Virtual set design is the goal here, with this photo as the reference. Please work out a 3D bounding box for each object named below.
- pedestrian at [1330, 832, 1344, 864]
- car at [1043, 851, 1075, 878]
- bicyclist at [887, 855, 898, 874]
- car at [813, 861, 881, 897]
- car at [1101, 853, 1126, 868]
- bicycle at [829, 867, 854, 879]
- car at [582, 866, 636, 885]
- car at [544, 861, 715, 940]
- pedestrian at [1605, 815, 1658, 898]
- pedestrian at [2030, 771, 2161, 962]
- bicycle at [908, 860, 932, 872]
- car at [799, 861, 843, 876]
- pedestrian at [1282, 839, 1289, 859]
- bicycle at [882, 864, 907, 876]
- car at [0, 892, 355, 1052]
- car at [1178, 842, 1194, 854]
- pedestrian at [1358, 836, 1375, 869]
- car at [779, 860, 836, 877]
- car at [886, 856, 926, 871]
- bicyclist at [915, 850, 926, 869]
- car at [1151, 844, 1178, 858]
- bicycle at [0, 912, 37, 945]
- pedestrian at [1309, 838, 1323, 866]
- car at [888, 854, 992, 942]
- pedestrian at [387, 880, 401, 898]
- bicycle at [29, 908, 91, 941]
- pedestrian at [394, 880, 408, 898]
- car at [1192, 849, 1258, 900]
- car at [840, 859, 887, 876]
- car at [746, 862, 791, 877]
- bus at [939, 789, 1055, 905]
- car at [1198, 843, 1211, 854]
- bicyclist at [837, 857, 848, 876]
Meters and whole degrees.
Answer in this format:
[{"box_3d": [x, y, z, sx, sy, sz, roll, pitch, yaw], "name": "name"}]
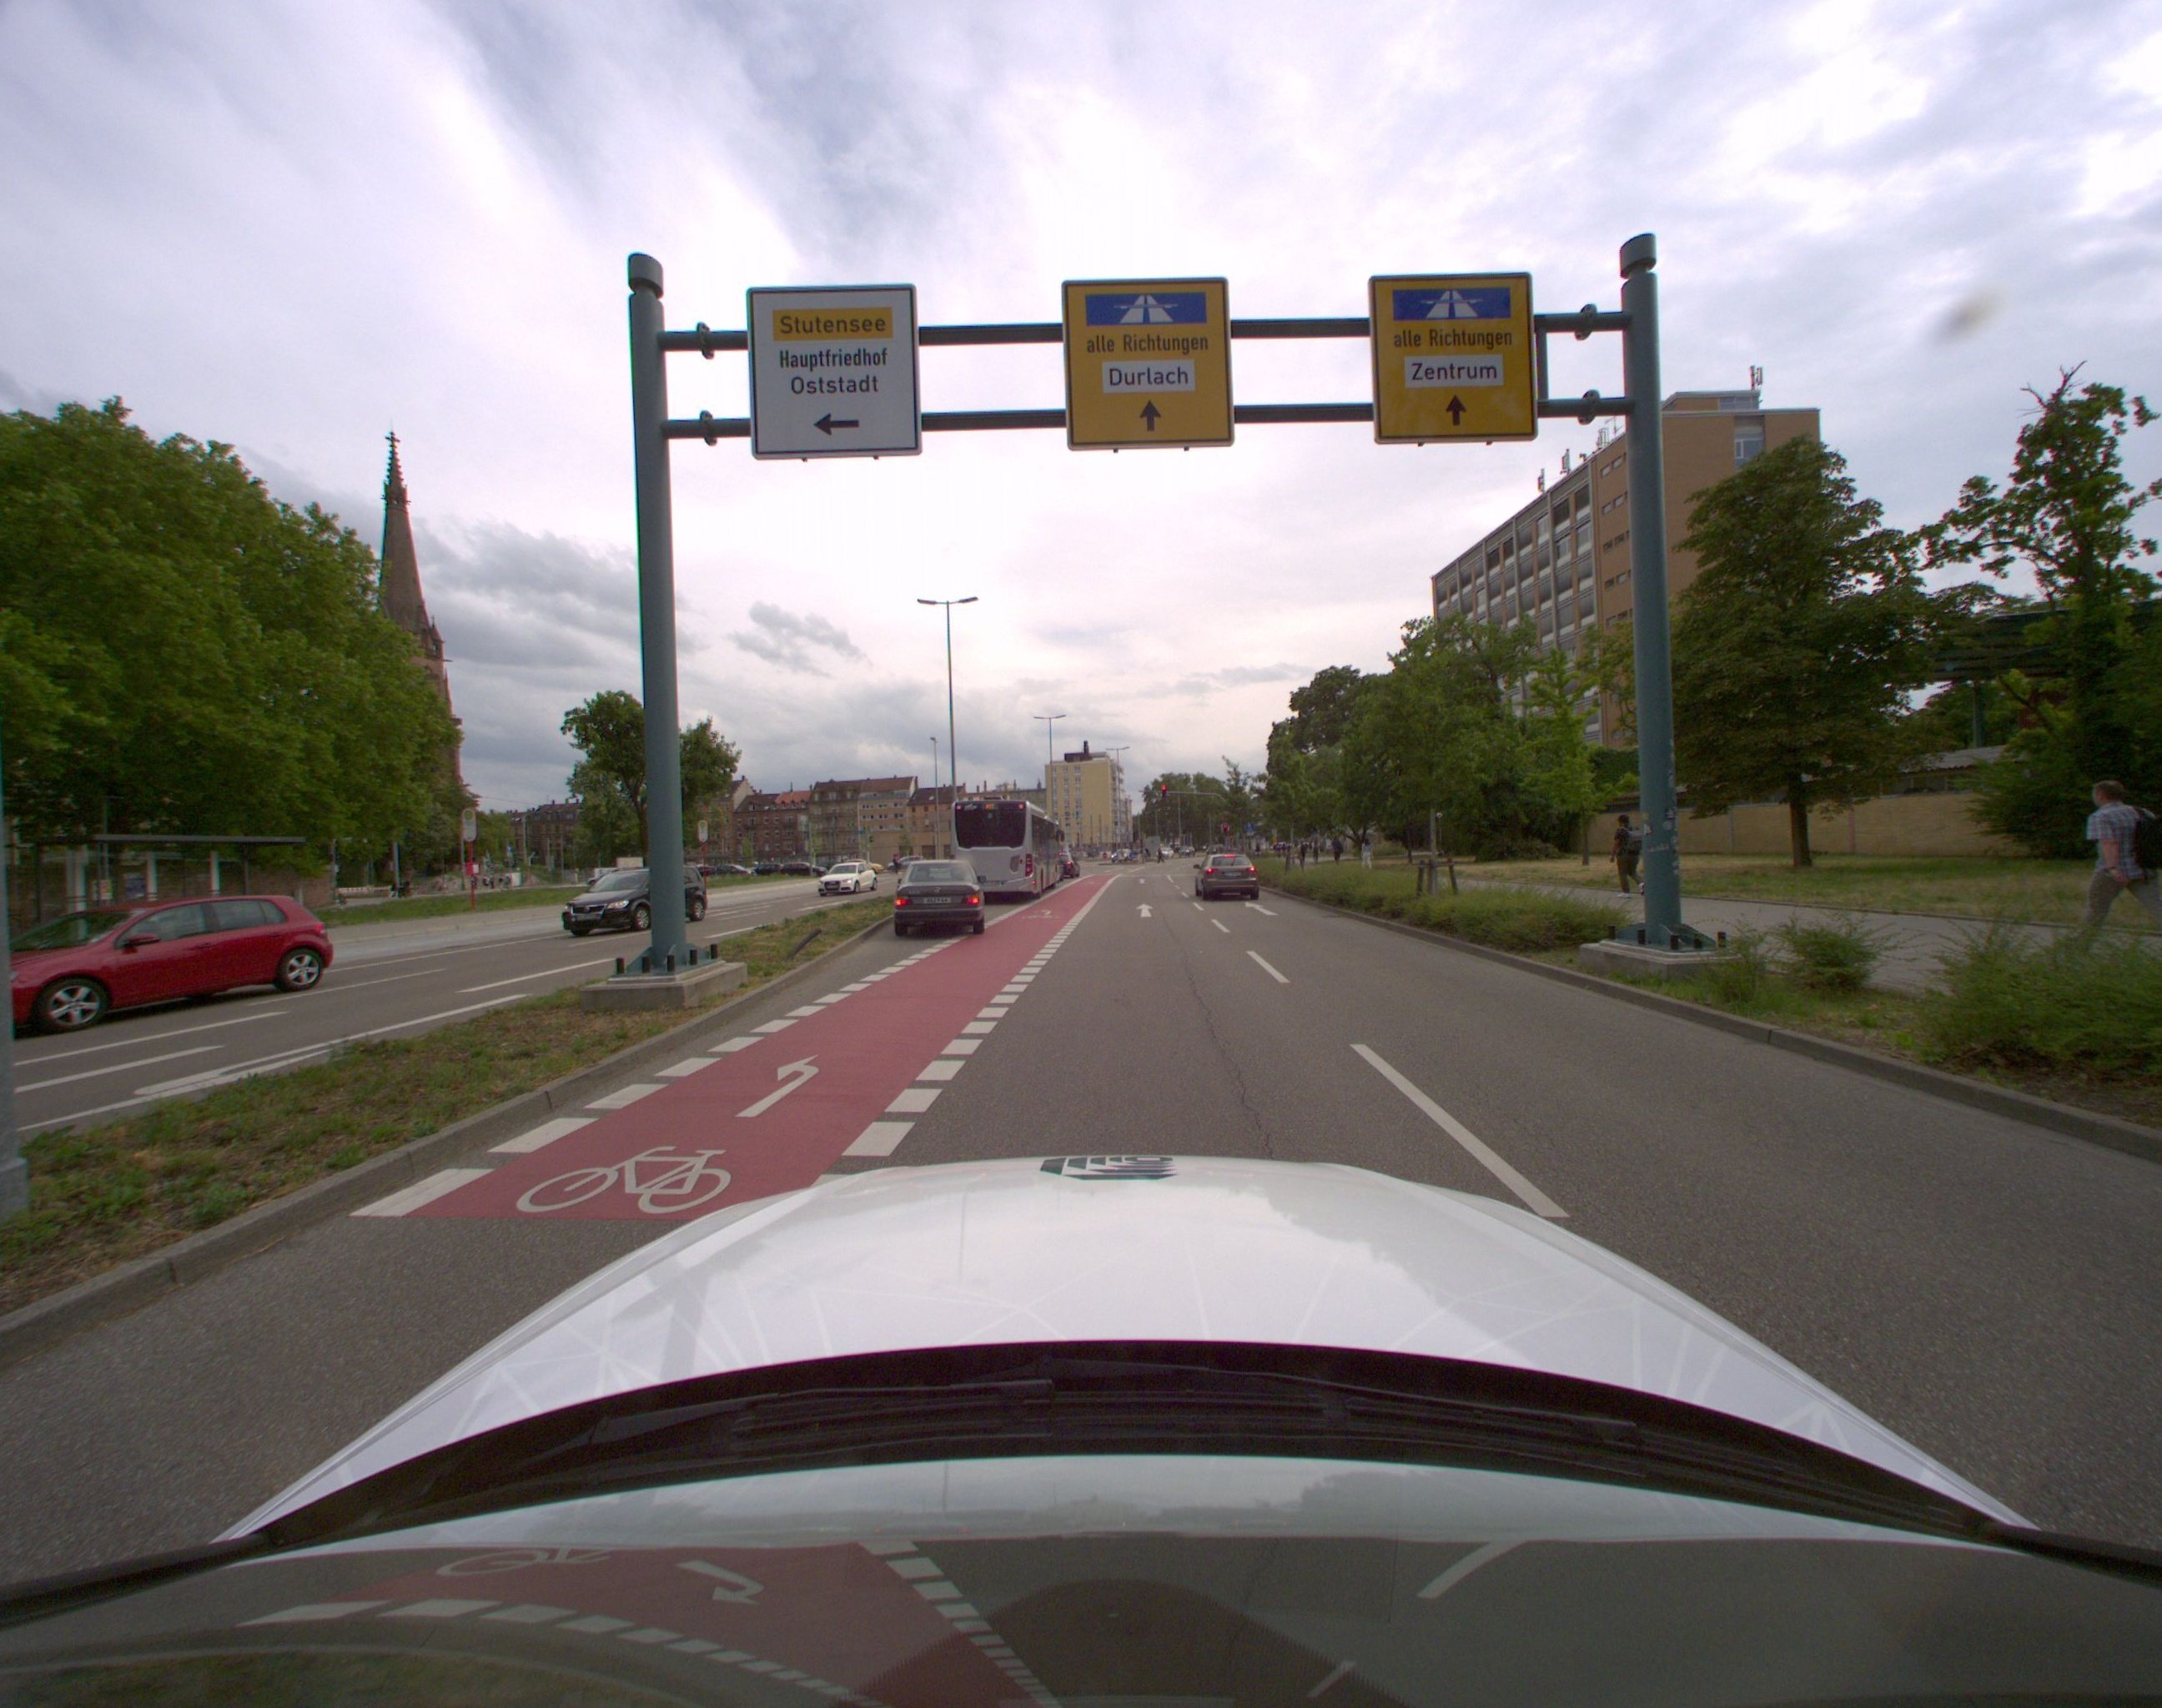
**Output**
[{"box_3d": [13.774, -0.331, 43.814, 0.641, 1.713, 0.564, -3, 0, 18], "name": "pedestrian"}, {"box_3d": [-1.256, 0.586, 47.366, 1.649, 1.396, 3.861, -2, 0, 1], "name": "car"}, {"box_3d": [-16.815, 0.911, 72.602, 0.783, 1.643, 0.573, -3, 0, 3], "name": "bicyclist"}, {"box_3d": [-10.637, 1.102, 37.314, 1.663, 1.389, 3.927, -3, 0, 4], "name": "car"}, {"box_3d": [4.099, 0.822, 102.451, 1.977, 1.703, 4.019, -2, 0, 18], "name": "car"}, {"box_3d": [-21.252, 1.694, 72.363, 1.959, 0.982, 0.630, -3, 0, -2], "name": "bicycle"}, {"box_3d": [-46.040, 2.083, 79.523, 4.144, 1.649, 1.645, -3, 0, -3], "name": "car"}, {"box_3d": [-11.663, 1.123, 21.423, 1.794, 1.665, 4.304, -4, 0, 3], "name": "car"}, {"box_3d": [11.541, 0.052, 17.090, 0.585, 1.682, 0.749, -3, 0, 4], "name": "pedestrian"}, {"box_3d": [9.949, 0.105, 7.839, 0.616, 1.735, 0.815, -3, 0, 4], "name": "pedestrian"}, {"box_3d": [-14.243, 1.084, 72.253, 1.957, 0.982, 0.631, -3, 0, 0], "name": "bicycle"}, {"box_3d": [-25.280, 1.424, 79.213, 3.753, 1.394, 1.583, -1, 0, -2], "name": "car"}, {"box_3d": [21.057, -0.554, 83.845, 0.611, 2.013, 0.597, -2, 0, 2], "name": "pedestrian"}, {"box_3d": [-16.615, 1.413, 72.587, 1.956, 0.982, 0.631, -3, 0, 2], "name": "bicycle"}, {"box_3d": [-12.461, 1.401, 10.724, 1.795, 1.489, 4.291, -2, 0, 2], "name": "car"}, {"box_3d": [18.399, -1.051, 143.064, 1.791, 1.850, 4.021, -3, 0, 21], "name": "car"}, {"box_3d": [13.286, -0.073, 37.899, 0.651, 1.470, 0.564, -3, 0, 20], "name": "pedestrian"}, {"box_3d": [-25.067, 1.338, 74.820, 4.656, 1.475, 1.659, -1, 0, -2], "name": "car"}, {"box_3d": [-17.247, 0.921, 80.245, 3.681, 1.394, 1.576, -1, 0, -17], "name": "car"}, {"box_3d": [-14.264, 0.494, 72.261, 0.783, 1.643, 0.614, -3, 0, 1], "name": "bicyclist"}, {"box_3d": [13.712, -0.585, 133.575, 2.559, 2.109, 5.634, -2, 0, 26], "name": "car"}, {"box_3d": [-32.197, 2.240, 24.317, 0.482, 0.907, 1.609, 0, -1, -21], "name": "bicycle"}, {"box_3d": [15.121, -0.142, 52.395, 0.795, 1.713, 0.768, -3, 0, 16], "name": "pedestrian"}, {"box_3d": [-2.800, 0.775, 16.622, 1.760, 1.489, 4.159, -2, 0, -8], "name": "car"}, {"box_3d": [-60.699, 3.112, 71.923, 0.560, 1.560, 0.725, -2, 0, -3], "name": "pedestrian"}, {"box_3d": [-32.832, 2.252, 26.209, 0.482, 0.907, 1.609, 0, -1, -21], "name": "bicycle"}, {"box_3d": [-59.736, 3.093, 71.515, 0.560, 1.560, 0.725, -2, 0, -3], "name": "pedestrian"}, {"box_3d": [4.617, 0.610, 26.535, 1.716, 1.457, 3.741, -2, 0, 5], "name": "car"}, {"box_3d": [-19.977, 1.219, 75.030, 3.846, 1.517, 1.659, -1, 0, -2], "name": "car"}, {"box_3d": [-30.240, 1.520, 78.911, 3.753, 1.394, 1.583, -1, 0, -2], "name": "car"}, {"box_3d": [-2.649, -0.250, 28.506, 2.821, 3.390, 8.186, -2, 0, 2], "name": "bus"}, {"box_3d": [23.663, -1.084, 156.084, 1.978, 2.013, 4.017, -2, 0, 16], "name": "car"}, {"box_3d": [-21.194, 1.082, 72.361, 0.784, 1.643, 0.572, -3, 0, -2], "name": "bicyclist"}]
